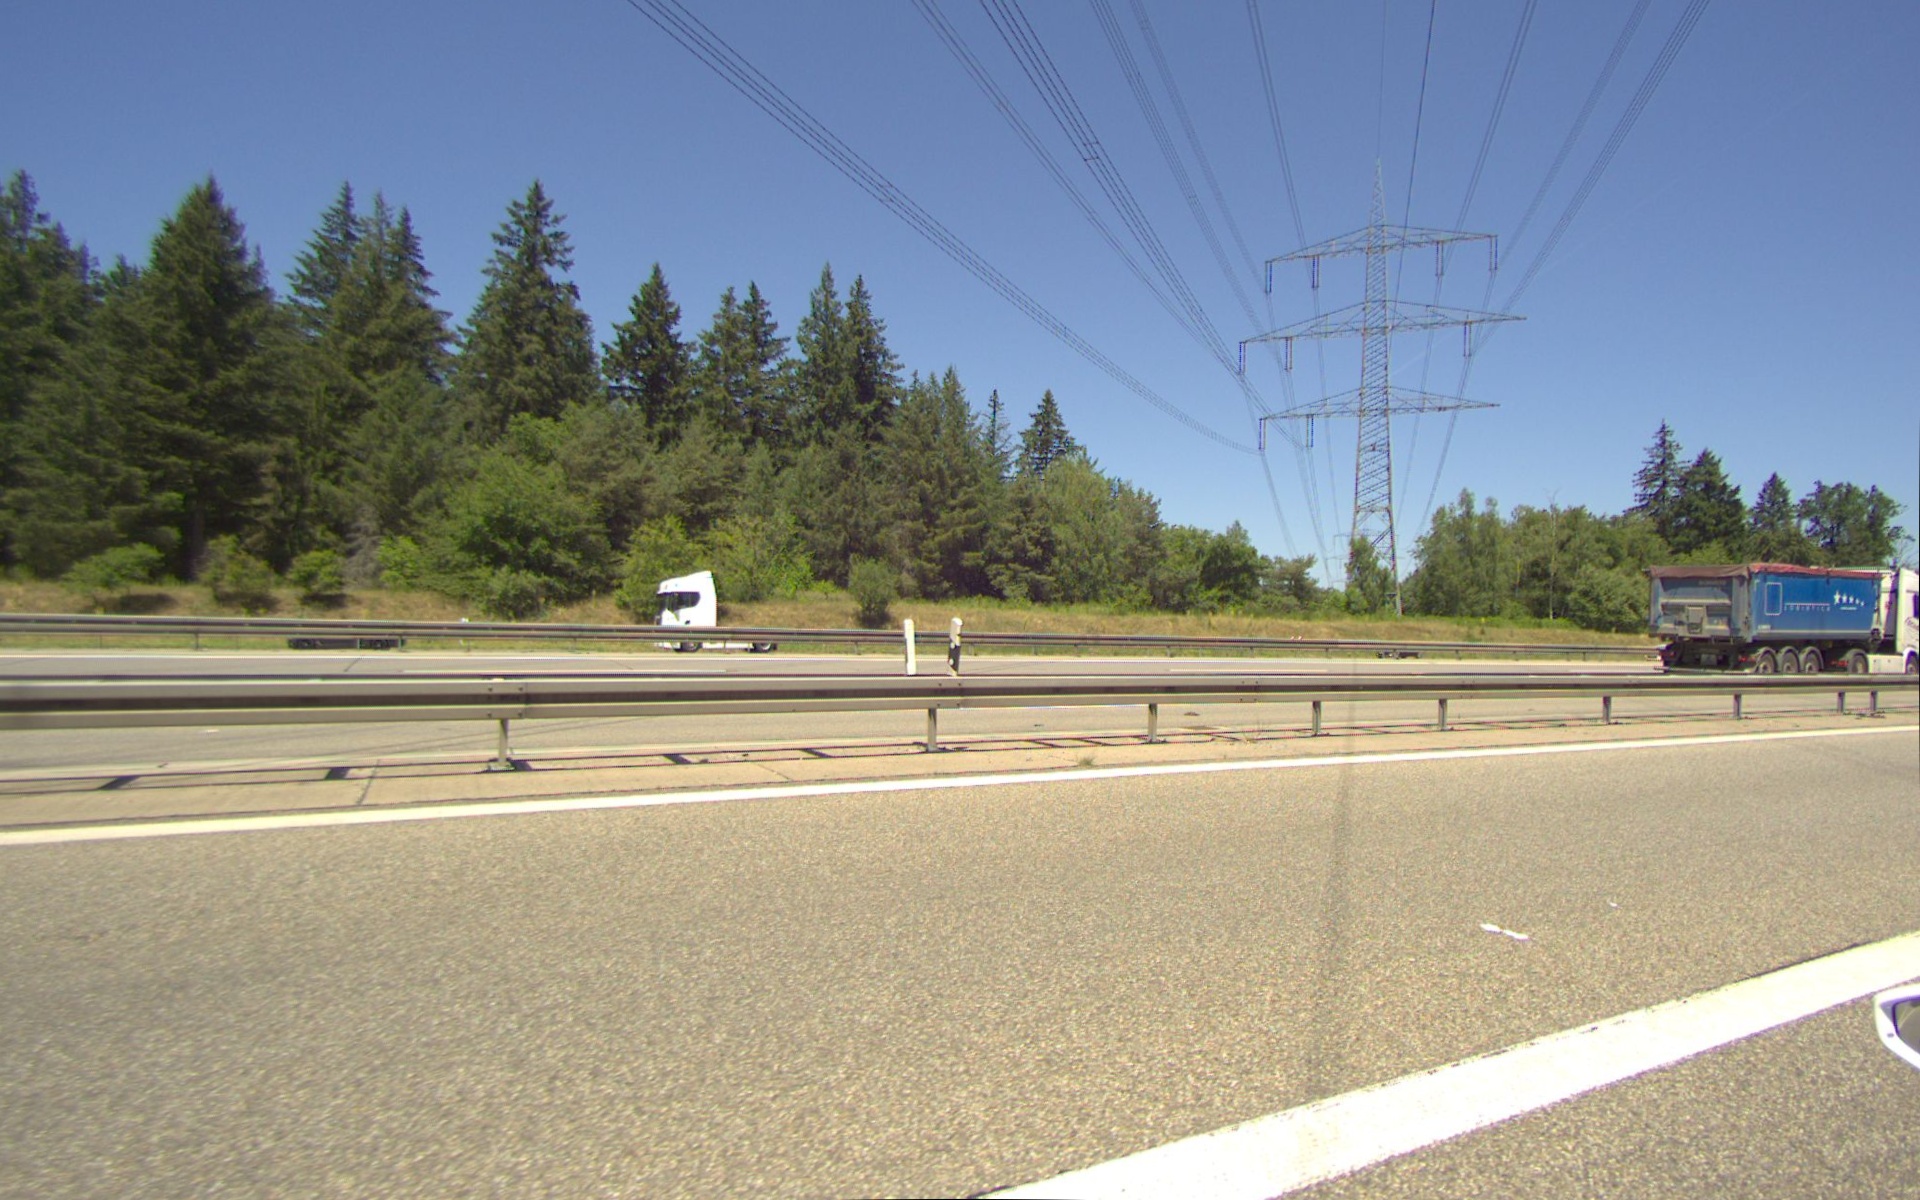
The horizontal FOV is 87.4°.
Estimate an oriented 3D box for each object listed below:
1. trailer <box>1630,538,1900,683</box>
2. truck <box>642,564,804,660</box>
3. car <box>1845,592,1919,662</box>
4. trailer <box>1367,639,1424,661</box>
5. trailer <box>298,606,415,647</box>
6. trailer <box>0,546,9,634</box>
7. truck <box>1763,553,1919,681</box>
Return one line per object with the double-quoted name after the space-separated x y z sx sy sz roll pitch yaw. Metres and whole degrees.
24.333 0.425 30.177 9.762 3.858 2.760 2 -1 -28 "trailer"
-12.023 0.698 51.099 7.434 4.402 2.850 3 -2 -27 "truck"
42.285 1.285 44.559 6.967 2.869 2.230 4 -2 -28 "car"
34.871 3.997 80.425 4.405 1.691 1.985 2 -1 -29 "trailer"
-28.782 1.277 48.091 4.536 1.843 1.988 2 -1 -25 "trailer"
-45.834 -0.507 41.632 8.801 3.848 2.768 1 -1 -21 "trailer"
28.828 0.573 32.612 4.564 3.858 2.745 2 -1 -28 "truck"
